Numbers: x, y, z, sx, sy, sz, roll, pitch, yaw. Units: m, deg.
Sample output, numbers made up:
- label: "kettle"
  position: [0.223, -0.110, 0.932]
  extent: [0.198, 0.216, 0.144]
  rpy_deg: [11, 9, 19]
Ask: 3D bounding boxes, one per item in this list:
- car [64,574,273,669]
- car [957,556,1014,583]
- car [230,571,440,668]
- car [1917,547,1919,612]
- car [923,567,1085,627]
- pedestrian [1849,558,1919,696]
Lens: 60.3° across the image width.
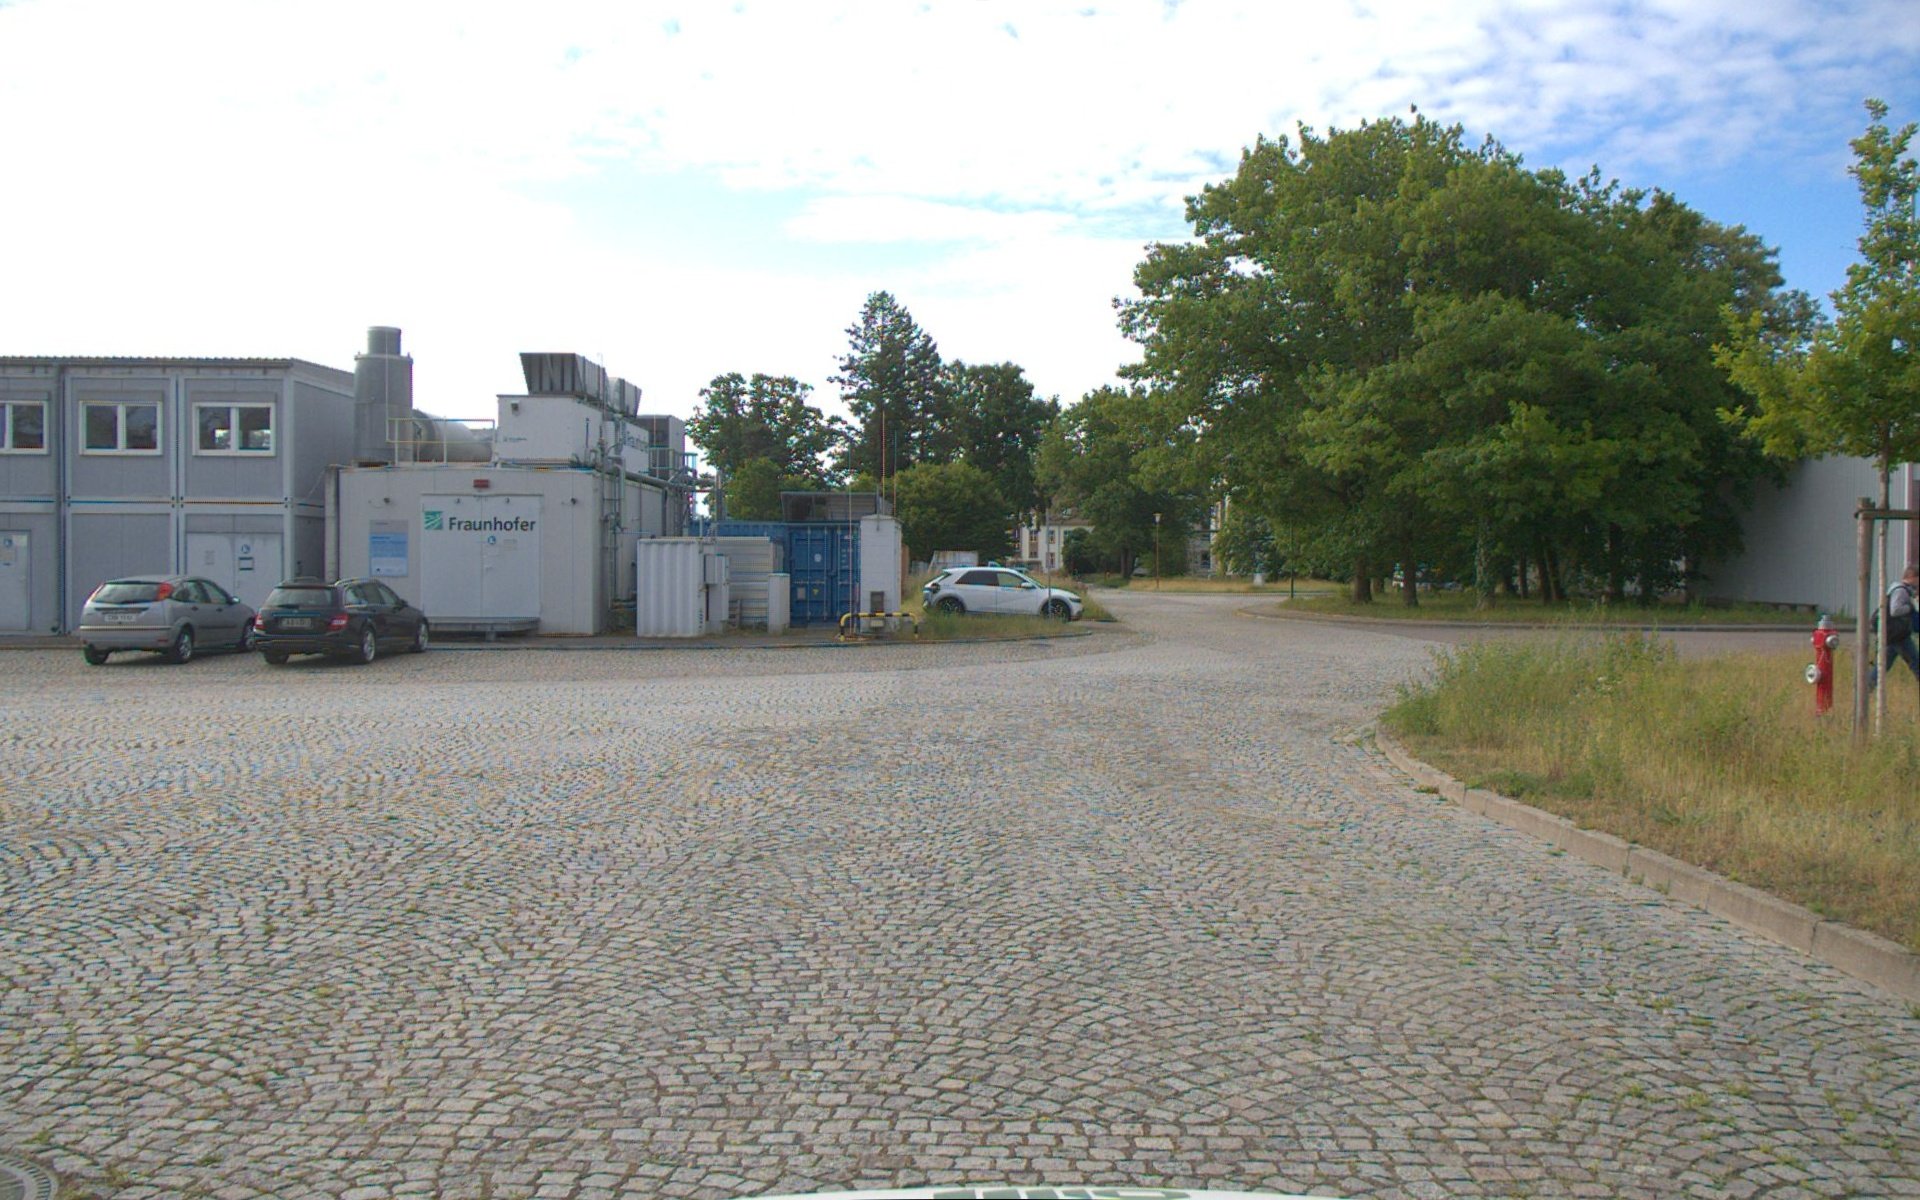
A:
- label: "car"
  position: [-14.140, 0.323, 29.814]
  extent: [1.868, 1.501, 4.047]
  rpy_deg: [0, 2, -1]
- label: "car"
  position: [2.314, -2.742, 148.169]
  extent: [5.064, 2.378, 2.000]
  rpy_deg: [0, 1, 0]
- label: "car"
  position: [-11.046, 0.288, 29.616]
  extent: [1.994, 1.478, 4.531]
  rpy_deg: [0, 3, 0]
- label: "car"
  position: [31.135, -0.606, 49.199]
  extent: [2.195, 2.049, 5.336]
  rpy_deg: [0, 1, -1]
- label: "car"
  position: [1.264, -0.101, 46.592]
  extent: [4.439, 1.627, 2.001]
  rpy_deg: [0, 1, 3]
- label: "pedestrian"
  position: [11.138, 0.298, 19.523]
  extent: [1.054, 1.583, 1.074]
  rpy_deg: [0, 1, 24]
